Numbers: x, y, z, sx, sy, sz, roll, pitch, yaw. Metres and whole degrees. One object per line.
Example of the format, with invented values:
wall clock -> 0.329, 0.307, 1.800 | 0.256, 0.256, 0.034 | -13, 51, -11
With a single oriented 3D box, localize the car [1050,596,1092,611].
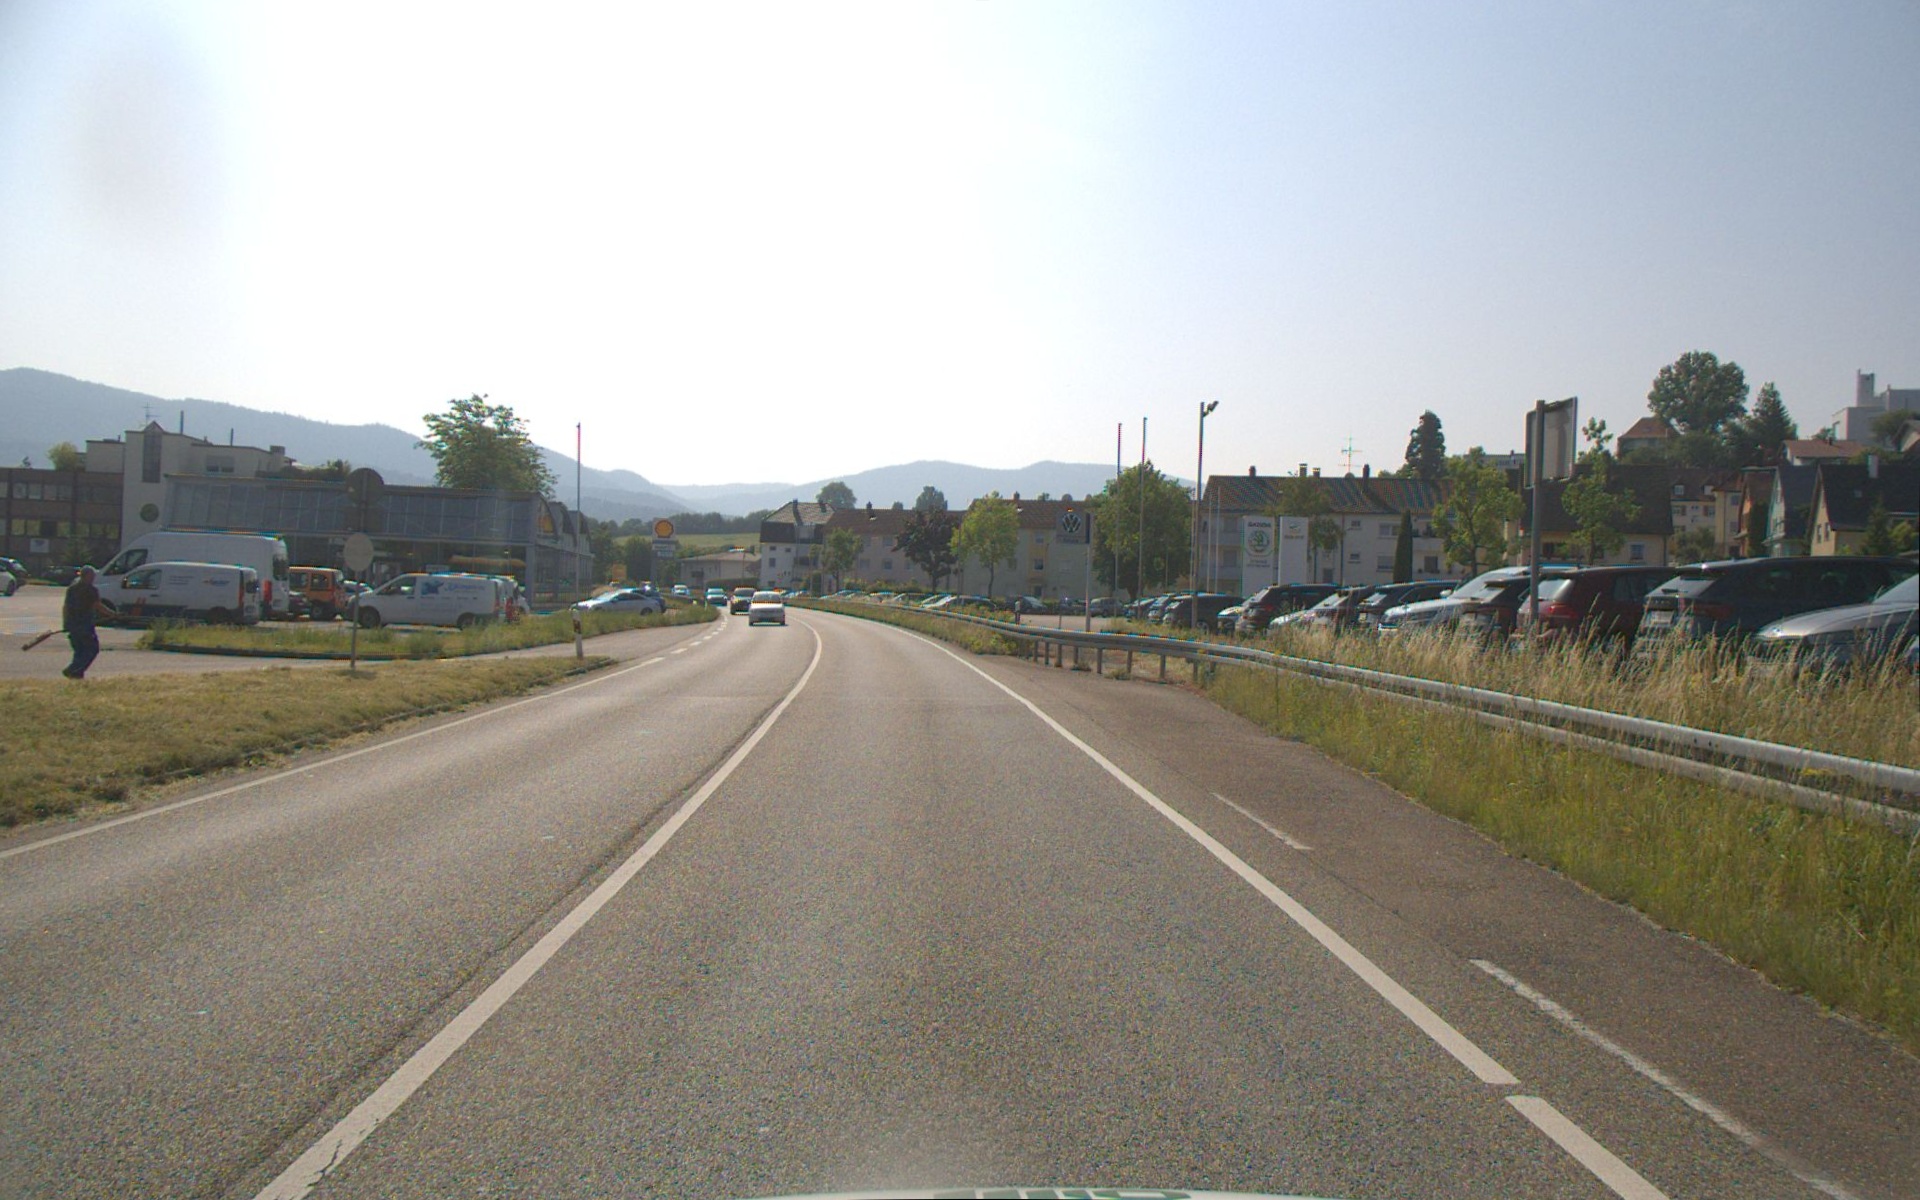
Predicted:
car -> 9.141, 0.296, 136.803 | 1.575, 1.207, 3.618 | 1, 0, -34

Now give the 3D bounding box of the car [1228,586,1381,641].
car -> 9.561, 0.372, 46.066 | 3.951, 1.512, 1.723 | 0, 0, 2

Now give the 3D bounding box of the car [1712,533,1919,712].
car -> 9.117, 0.215, 14.783 | 3.907, 1.477, 1.950 | 1, 0, -2

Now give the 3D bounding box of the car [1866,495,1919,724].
car -> 9.111, 0.099, 11.773 | 4.267, 1.668, 1.950 | 1, 0, -1

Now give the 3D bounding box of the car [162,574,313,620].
car -> -24.508, -0.110, 56.247 | 4.298, 1.341, 1.796 | 3, 0, -8

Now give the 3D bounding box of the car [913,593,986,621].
car -> -0.616, 0.378, 96.909 | 4.082, 1.583, 1.767 | 0, 0, -9

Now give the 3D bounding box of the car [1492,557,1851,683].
car -> 8.717, 0.243, 20.468 | 3.655, 1.431, 1.822 | 1, 0, -2

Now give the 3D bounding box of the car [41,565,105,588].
car -> -67.365, -1.779, 125.611 | 3.904, 1.632, 1.730 | 1, -2, 2

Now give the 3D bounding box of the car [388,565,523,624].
car -> -19.858, -0.213, 65.300 | 4.702, 2.016, 2.225 | 3, 0, -8

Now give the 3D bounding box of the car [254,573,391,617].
car -> -23.837, -0.190, 62.018 | 4.381, 1.423, 1.963 | 3, 0, -8

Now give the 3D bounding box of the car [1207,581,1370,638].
car -> 9.651, 0.288, 48.766 | 4.361, 1.628, 1.852 | 0, 0, -6

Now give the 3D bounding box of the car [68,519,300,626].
car -> -22.844, -0.785, 48.902 | 5.611, 2.793, 2.282 | 3, -1, -6

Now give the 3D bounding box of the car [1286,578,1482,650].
car -> 9.614, 0.315, 37.714 | 4.000, 1.579, 1.781 | 0, 0, -2

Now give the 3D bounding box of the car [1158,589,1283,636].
car -> 8.785, 0.412, 55.934 | 3.907, 1.520, 1.729 | 1, 0, -3

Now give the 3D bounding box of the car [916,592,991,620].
car -> -0.388, 0.324, 94.058 | 4.082, 1.517, 1.728 | 0, 0, -9

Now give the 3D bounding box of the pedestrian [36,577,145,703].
pedestrian -> -12.237, 0.556, 23.283 | 0.836, 1.719, 1.136 | 0, -1, 45

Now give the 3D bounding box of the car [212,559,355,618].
car -> -24.280, -0.405, 59.512 | 4.298, 1.839, 1.998 | 3, 0, -8

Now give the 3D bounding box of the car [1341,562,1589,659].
car -> 9.107, 0.190, 30.044 | 3.905, 1.660, 1.921 | 1, 0, -1

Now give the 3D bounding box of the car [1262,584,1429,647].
car -> 9.265, 0.372, 39.918 | 3.656, 1.484, 1.664 | 0, 0, -2

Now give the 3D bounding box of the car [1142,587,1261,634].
car -> 8.905, 0.384, 61.148 | 4.000, 1.638, 1.789 | 1, 0, -8

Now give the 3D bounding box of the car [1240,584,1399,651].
car -> 9.372, 0.444, 43.325 | 3.798, 1.693, 1.840 | 0, 0, 2

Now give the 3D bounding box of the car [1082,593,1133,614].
car -> 11.301, 0.280, 126.536 | 3.725, 1.548, 1.636 | 1, 0, -37

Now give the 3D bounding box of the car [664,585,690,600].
car -> -30.927, -0.795, 180.836 | 1.769, 1.658, 4.194 | 0, 0, -24

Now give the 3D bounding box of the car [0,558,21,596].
car -> -39.845, -0.952, 66.720 | 1.771, 1.518, 4.560 | 1, -1, -7

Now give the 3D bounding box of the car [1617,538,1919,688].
car -> 9.074, 0.146, 17.347 | 3.658, 1.453, 1.778 | 1, 0, -2

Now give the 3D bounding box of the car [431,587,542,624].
car -> -20.153, 0.239, 70.483 | 1.864, 1.427, 4.204 | 1, -1, 42

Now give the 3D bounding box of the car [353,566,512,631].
car -> -17.362, -0.050, 54.648 | 4.583, 1.890, 2.140 | 3, 0, -8

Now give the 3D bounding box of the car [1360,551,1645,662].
car -> 8.607, 0.108, 26.456 | 3.908, 1.660, 1.920 | 1, 0, -4

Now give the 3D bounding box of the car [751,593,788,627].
car -> -8.678, 0.429, 75.362 | 1.645, 1.498, 3.702 | 0, 0, -6

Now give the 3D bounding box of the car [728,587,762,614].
car -> -13.450, 0.008, 103.716 | 1.775, 1.658, 4.539 | 0, 0, -3

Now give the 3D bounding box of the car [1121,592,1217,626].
car -> 9.631, 0.429, 76.293 | 4.081, 1.542, 1.820 | 0, 0, -10

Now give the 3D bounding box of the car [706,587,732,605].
car -> -21.036, -0.358, 144.166 | 1.723, 1.500, 4.269 | 0, 0, -15

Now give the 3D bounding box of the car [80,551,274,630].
car -> -21.598, -0.260, 45.791 | 4.361, 1.871, 1.984 | 3, 0, -8

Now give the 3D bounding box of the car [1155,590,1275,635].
car -> 9.038, 0.425, 58.710 | 3.909, 1.520, 1.789 | 1, 0, -5

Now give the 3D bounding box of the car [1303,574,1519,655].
car -> 8.807, 0.282, 32.492 | 3.759, 1.484, 1.745 | 1, 0, -1

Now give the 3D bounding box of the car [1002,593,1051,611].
car -> 5.657, 0.175, 141.708 | 1.892, 1.430, 4.471 | 1, 0, -34

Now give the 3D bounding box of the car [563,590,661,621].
car -> -16.588, 0.270, 79.063 | 1.821, 1.391, 4.367 | 1, 1, 42

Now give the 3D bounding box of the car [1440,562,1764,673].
car -> 9.156, 0.250, 23.824 | 3.907, 1.477, 1.950 | 1, 0, -2
